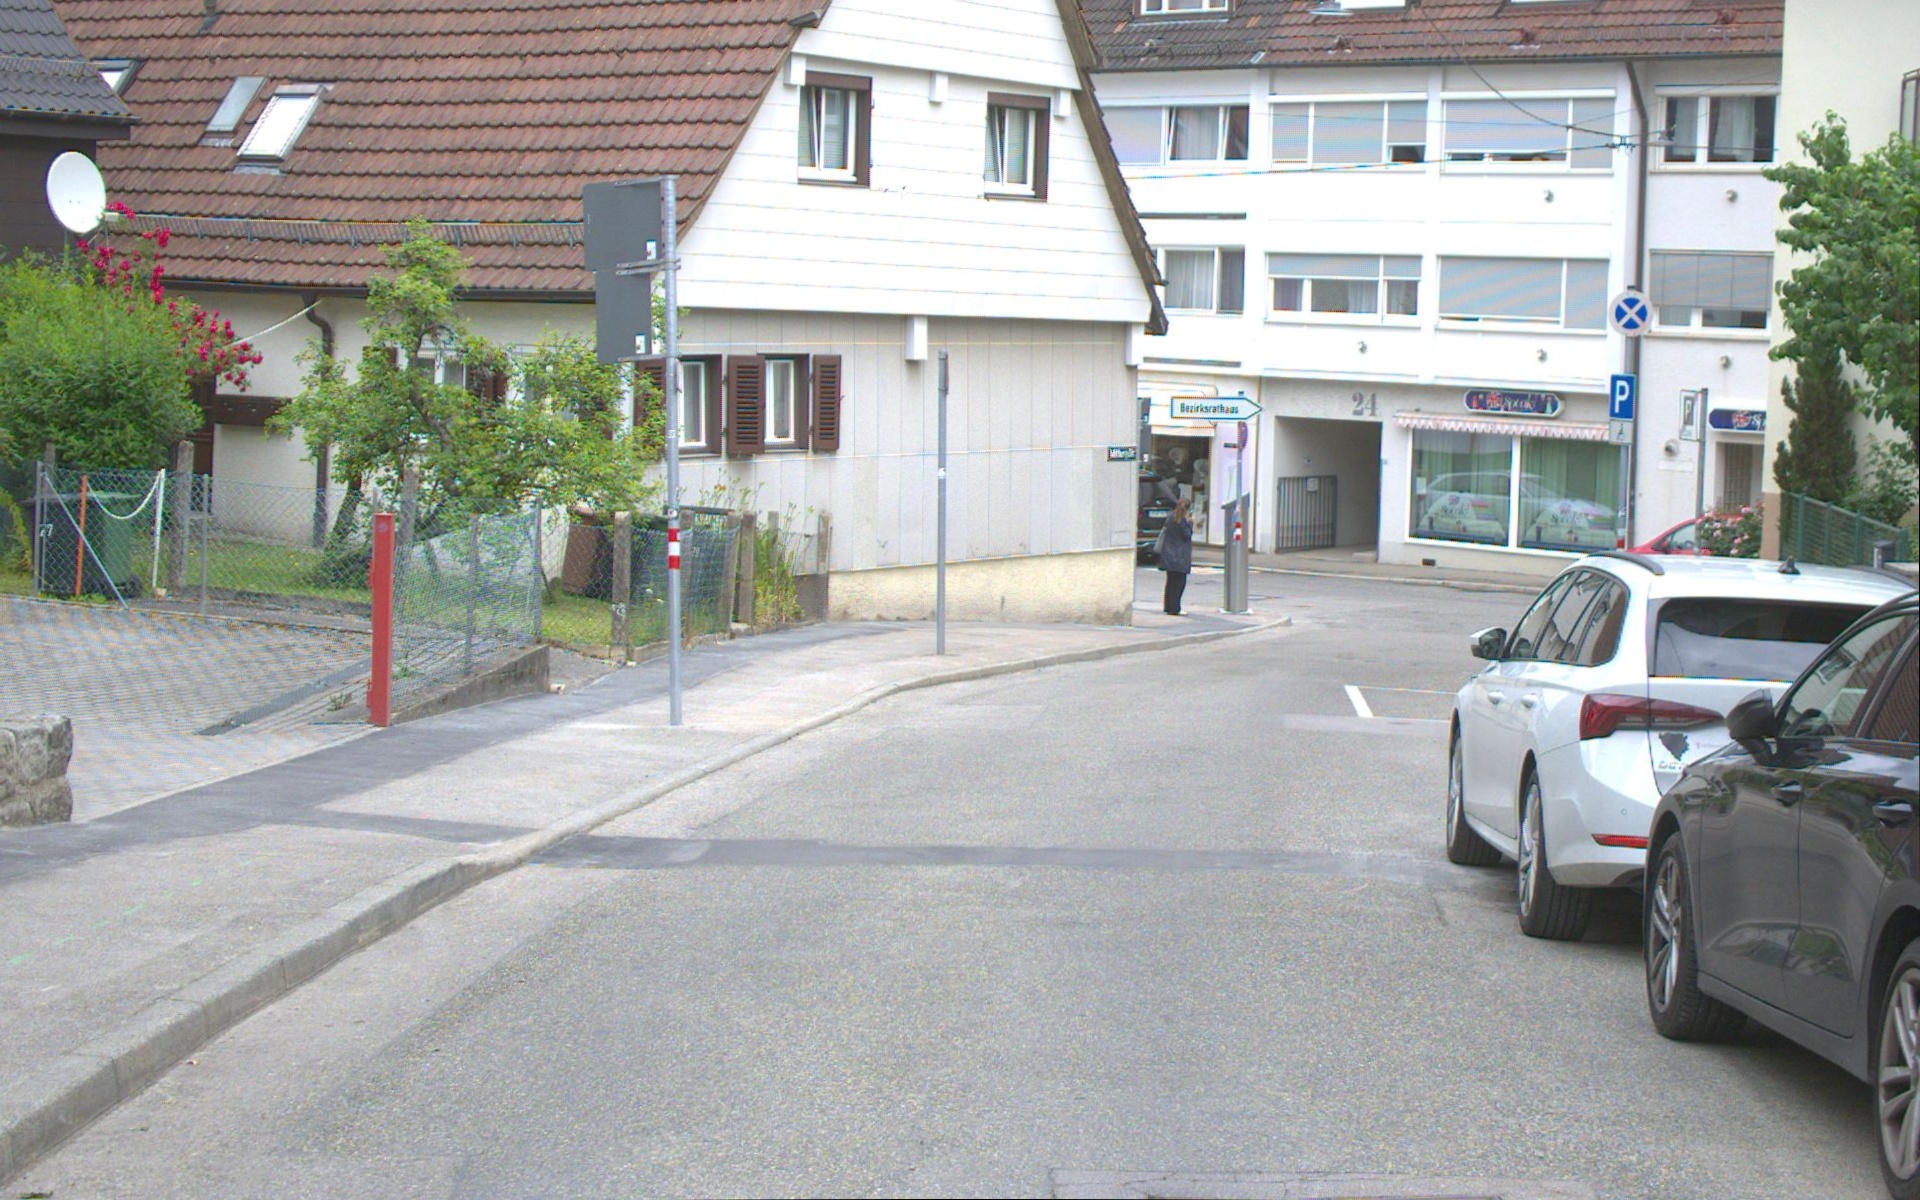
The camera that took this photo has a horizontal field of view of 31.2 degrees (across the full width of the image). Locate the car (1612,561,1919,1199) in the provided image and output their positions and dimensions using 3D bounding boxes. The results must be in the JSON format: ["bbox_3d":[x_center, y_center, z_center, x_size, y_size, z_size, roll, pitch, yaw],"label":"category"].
[{"bbox_3d":[2.936,0.680,8.841,1.674,1.403,4.052,4,1,0],"label":"car"}]

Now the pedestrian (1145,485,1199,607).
[{"bbox_3d":[3.013,-0.775,48.787,0.646,1.679,0.604,3,3,8],"label":"pedestrian"}]

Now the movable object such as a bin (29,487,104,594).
[{"bbox_3d":[-7.588,-0.504,29.199,0.376,0.890,0.489,2,2,21],"label":"movable object such as a bin"}]

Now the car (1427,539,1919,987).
[{"bbox_3d":[3.038,0.537,13.918,1.795,1.440,4.297,4,1,2],"label":"car"}]

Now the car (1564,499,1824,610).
[{"bbox_3d":[11.761,-0.755,55.227,1.693,1.551,3.693,0,4,-44],"label":"car"}]

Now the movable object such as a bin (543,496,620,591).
[{"bbox_3d":[-3.729,-0.556,33.879,0.495,0.875,0.452,8,2,34],"label":"movable object such as a bin"}]

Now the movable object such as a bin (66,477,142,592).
[{"bbox_3d":[-7.389,-0.569,29.685,0.399,0.978,0.507,2,2,21],"label":"movable object such as a bin"}]

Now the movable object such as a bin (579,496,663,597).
[{"bbox_3d":[-3.304,-0.519,33.528,0.528,0.914,0.489,8,2,34],"label":"movable object such as a bin"}]

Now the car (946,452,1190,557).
[{"bbox_3d":[1.996,-1.812,64.369,4.366,1.773,1.942,5,4,44],"label":"car"}]

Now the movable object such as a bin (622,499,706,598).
[{"bbox_3d":[-2.865,-0.498,33.251,0.528,0.881,0.489,8,2,34],"label":"movable object such as a bin"}]
